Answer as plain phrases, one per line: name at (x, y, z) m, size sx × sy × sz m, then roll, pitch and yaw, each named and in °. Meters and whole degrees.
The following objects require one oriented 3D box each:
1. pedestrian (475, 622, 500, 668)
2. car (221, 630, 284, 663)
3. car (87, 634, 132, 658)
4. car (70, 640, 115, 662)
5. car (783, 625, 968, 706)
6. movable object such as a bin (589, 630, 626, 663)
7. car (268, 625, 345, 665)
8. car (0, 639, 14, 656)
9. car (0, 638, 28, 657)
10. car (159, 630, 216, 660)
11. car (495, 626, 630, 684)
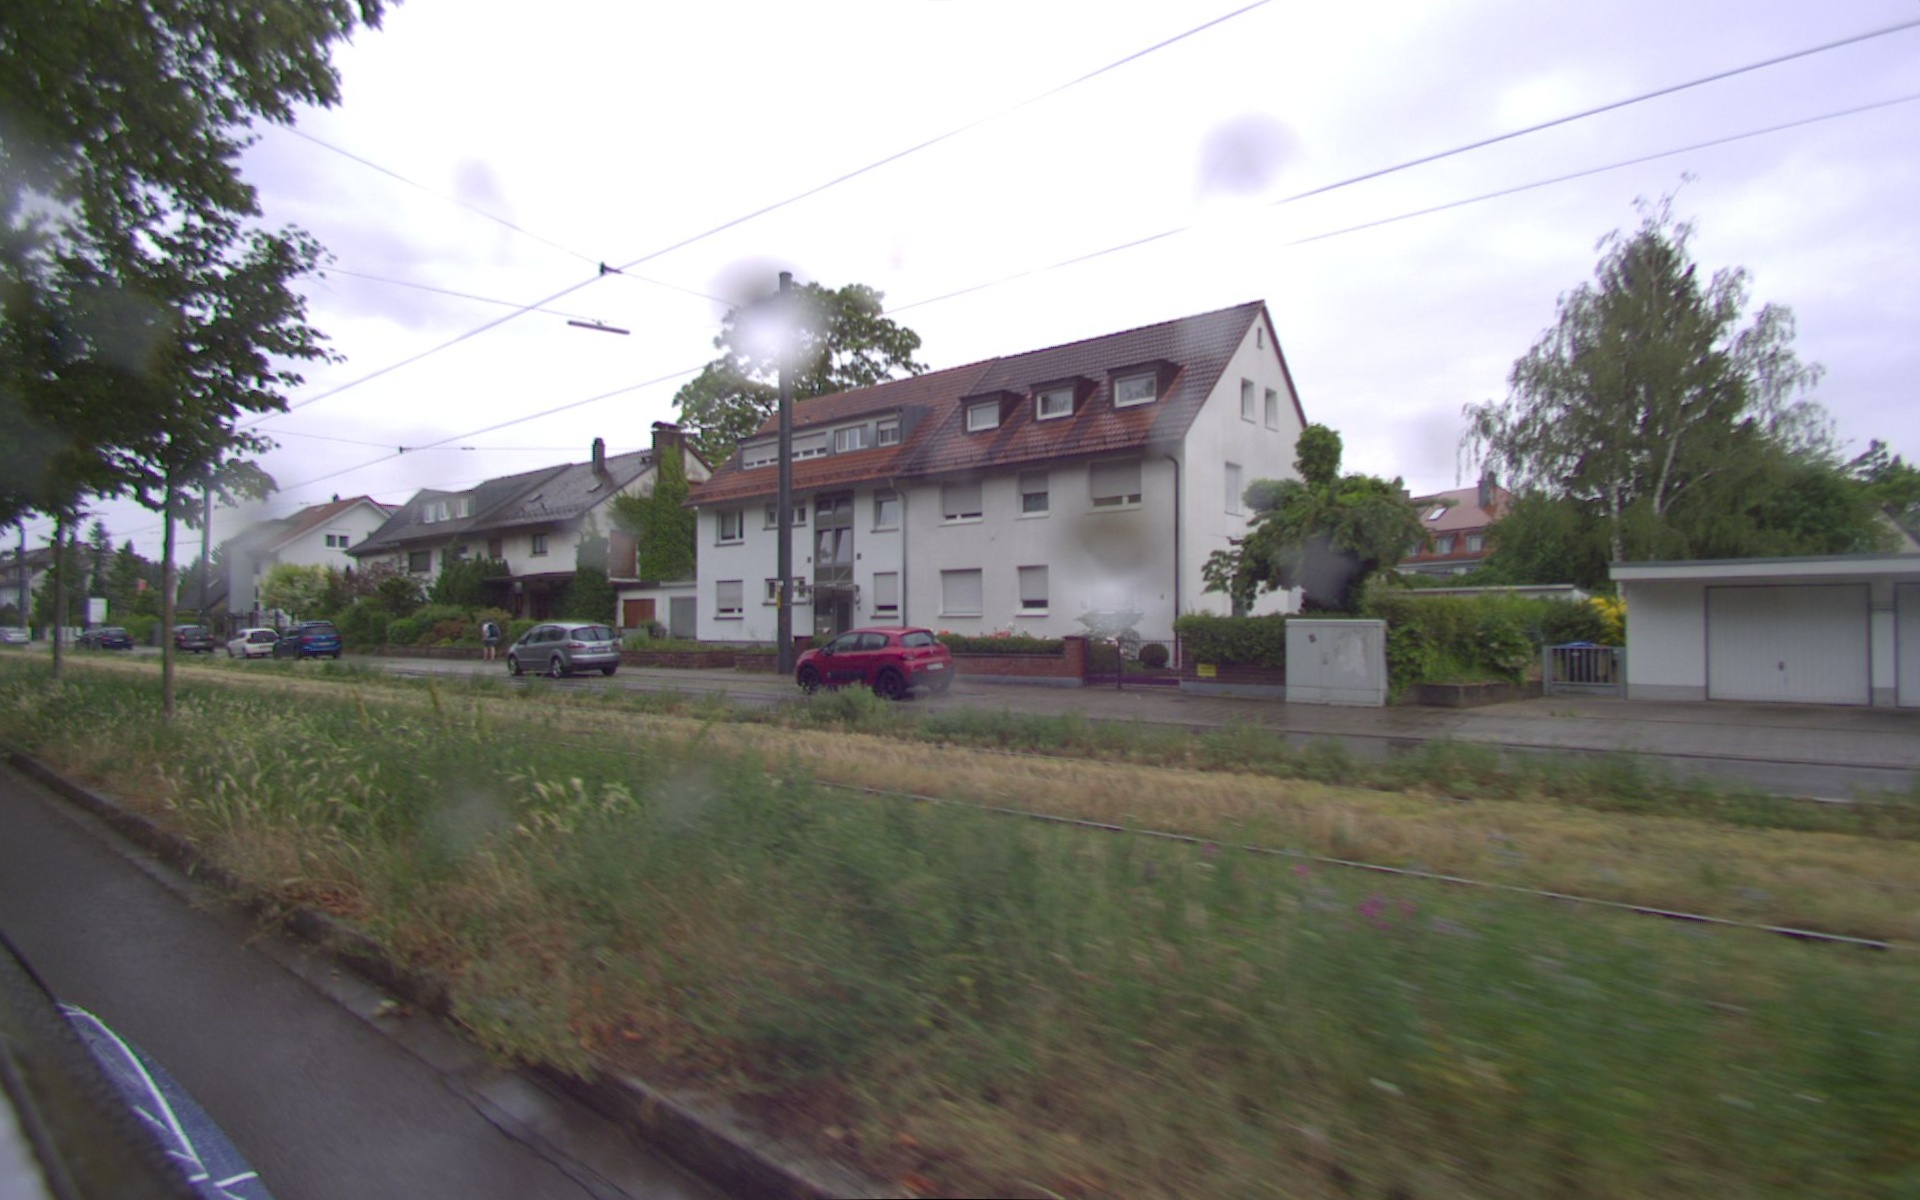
pedestrian at (-18.566, 1.761, 39.753) m, size 0.868 × 1.781 × 0.592 m, roll -2°, pitch -2°, yaw 40°
car at (-35.729, 2.318, 51.113) m, size 3.598 × 1.540 × 1.696 m, roll -2°, pitch 0°, yaw 40°
car at (-58.317, 3.160, 69.392) m, size 3.851 × 1.527 × 1.737 m, roll -2°, pitch 0°, yaw 40°
car at (-61.743, 3.641, 72.014) m, size 3.998 × 1.510 × 1.869 m, roll -2°, pitch -3°, yaw 41°
car at (-1.940, 1.401, 22.521) m, size 3.971 × 1.558 × 1.822 m, roll -2°, pitch 0°, yaw 42°
movable object such as a bin at (-14.602, 1.923, 41.889) m, size 0.739 × 1.308 × 1.241 m, roll -2°, pitch -1°, yaw 41°
car at (-30.239, 2.050, 46.783) m, size 4.178 × 1.719 × 1.826 m, roll -2°, pitch -1°, yaw 39°
car at (-88.353, 4.382, 92.951) m, size 3.851 × 1.527 × 1.737 m, roll -2°, pitch 0°, yaw 40°
car at (-84.667, 4.236, 90.285) m, size 3.851 × 1.527 × 1.737 m, roll -2°, pitch 0°, yaw 40°
car at (-44.590, 2.581, 58.391) m, size 4.107 × 1.626 × 1.737 m, roll -2°, pitch 0°, yaw 40°
car at (-12.295, 1.647, 31.176) m, size 4.682 × 1.626 × 1.972 m, roll -2°, pitch -1°, yaw 42°
